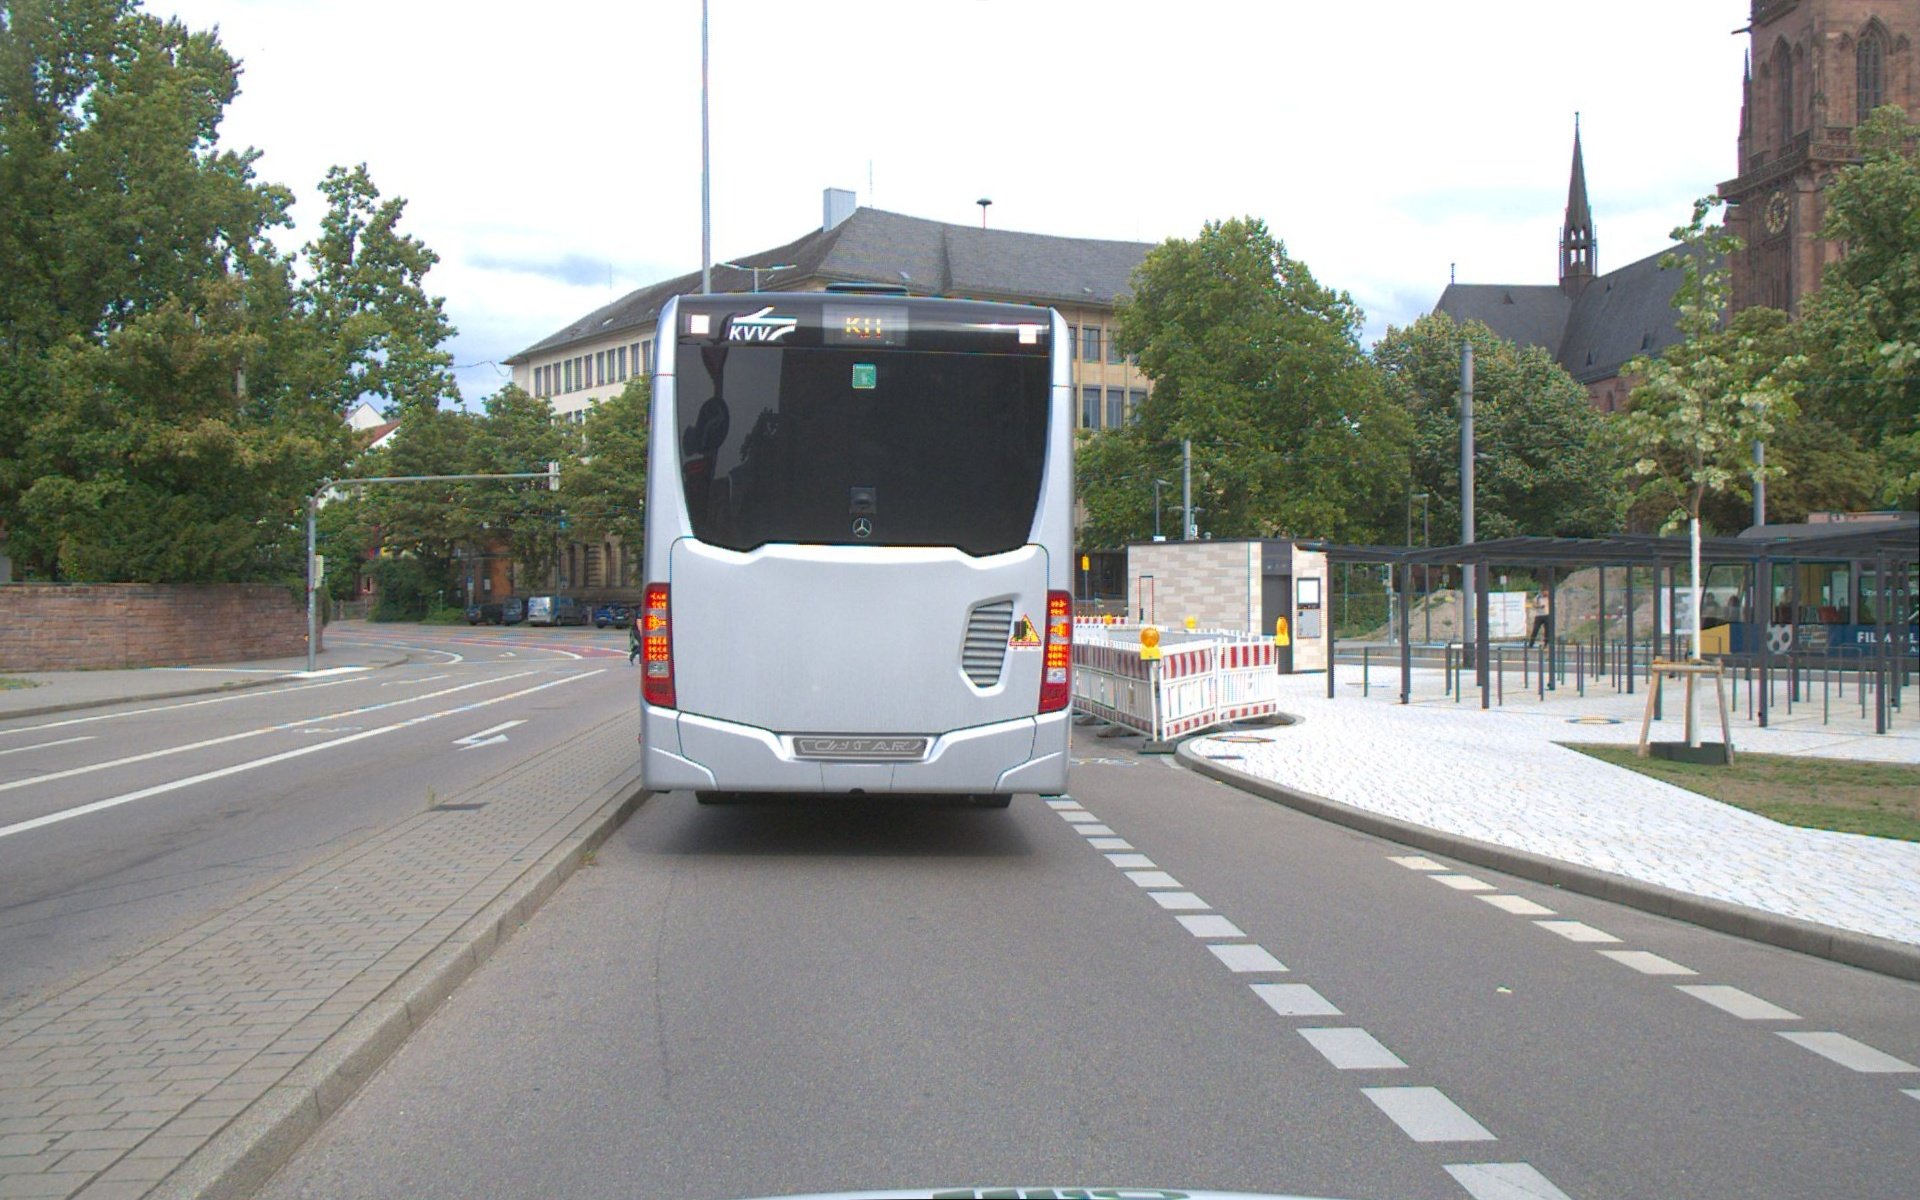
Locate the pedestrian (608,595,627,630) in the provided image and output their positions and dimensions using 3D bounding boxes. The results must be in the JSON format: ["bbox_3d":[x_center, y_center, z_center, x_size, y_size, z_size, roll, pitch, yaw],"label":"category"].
[{"bbox_3d":[-20.384,0.750,98.431,0.878,2.049,0.999,0,0,-30],"label":"pedestrian"}]

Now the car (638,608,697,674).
[{"bbox_3d":[-10.414,1.407,58.763,1.958,2.048,3.990,0,2,-11],"label":"car"}]

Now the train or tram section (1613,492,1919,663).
[{"bbox_3d":[18.795,-0.526,34.645,3.033,3.334,9.239,-2,3,-39],"label":"train or tram section"}]

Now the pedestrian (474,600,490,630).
[{"bbox_3d":[-33.424,1.056,115.687,0.878,2.049,0.999,0,0,-30],"label":"pedestrian"}]

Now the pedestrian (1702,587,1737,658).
[{"bbox_3d":[19.919,0.586,43.386,0.667,1.832,0.519,2,3,44],"label":"pedestrian"}]

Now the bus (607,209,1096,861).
[{"bbox_3d":[-1.242,-0.266,16.066,2.652,3.498,14.166,0,-1,-5],"label":"bus"}]

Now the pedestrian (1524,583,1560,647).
[{"bbox_3d":[16.803,0.425,47.775,0.804,1.832,0.753,0,2,7],"label":"pedestrian"}]

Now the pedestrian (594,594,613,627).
[{"bbox_3d":[-21.852,0.628,101.353,0.878,2.049,0.999,0,0,-30],"label":"pedestrian"}]

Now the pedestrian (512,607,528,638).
[{"bbox_3d":[-29.682,1.496,111.587,0.878,2.049,0.999,0,0,-30],"label":"pedestrian"}]

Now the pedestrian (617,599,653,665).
[{"bbox_3d":[-8.761,0.851,44.640,0.781,1.740,0.840,0,2,0],"label":"pedestrian"}]
